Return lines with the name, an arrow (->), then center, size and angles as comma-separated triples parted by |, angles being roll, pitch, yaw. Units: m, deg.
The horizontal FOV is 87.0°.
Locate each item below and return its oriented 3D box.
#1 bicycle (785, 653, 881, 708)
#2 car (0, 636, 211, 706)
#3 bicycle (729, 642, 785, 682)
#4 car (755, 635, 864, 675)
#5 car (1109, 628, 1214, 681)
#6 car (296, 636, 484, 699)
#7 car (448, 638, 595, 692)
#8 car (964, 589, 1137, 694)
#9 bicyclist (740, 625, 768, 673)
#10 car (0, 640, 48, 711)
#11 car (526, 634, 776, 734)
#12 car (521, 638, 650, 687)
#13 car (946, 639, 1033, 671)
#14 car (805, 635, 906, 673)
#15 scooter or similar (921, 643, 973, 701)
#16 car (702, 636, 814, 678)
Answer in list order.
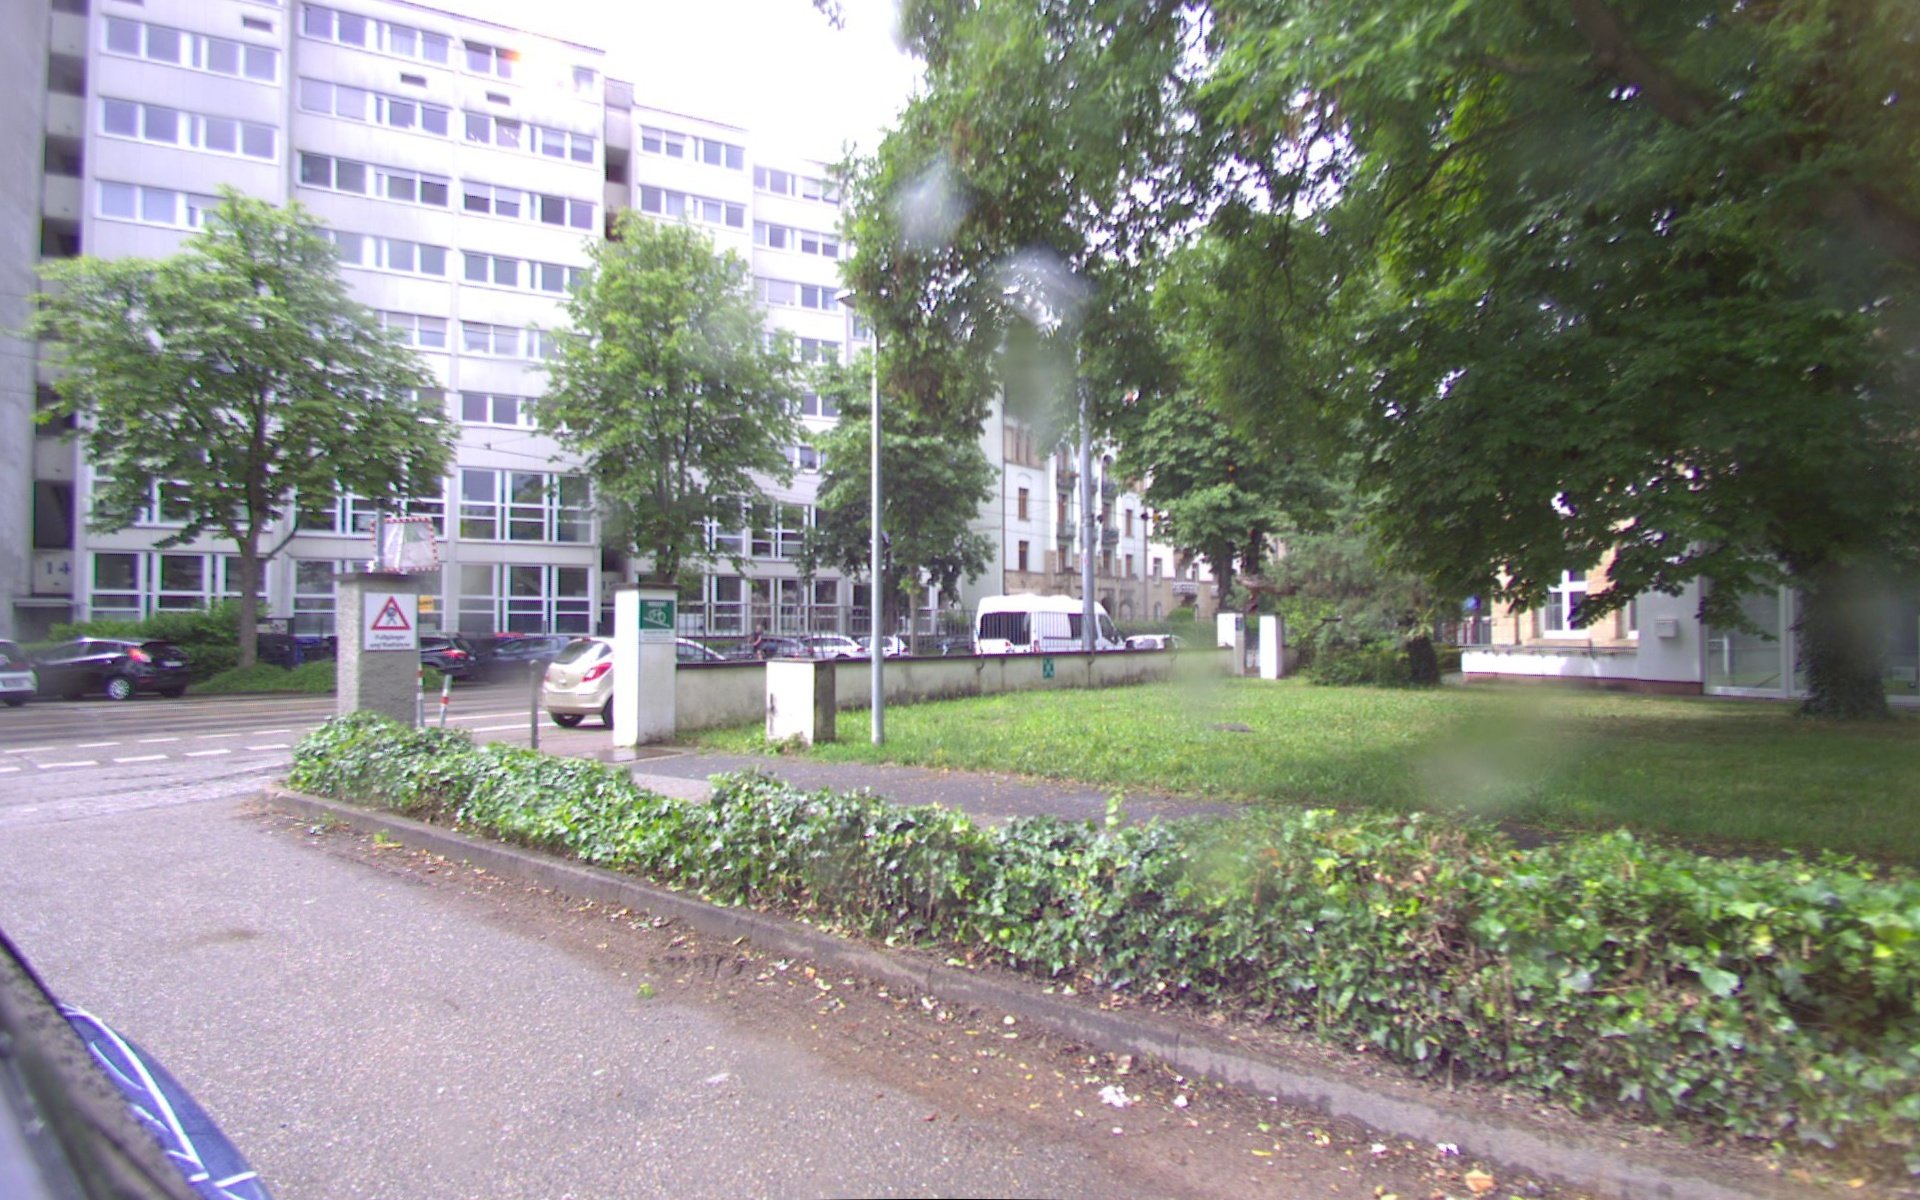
bicycle -> -2.530, 1.599, 20.052 | 1.924, 0.994, 0.676 | -5, -4, 36
car -> -20.153, 1.635, 23.668 | 3.922, 1.492, 1.816 | -1, -2, 0
bicycle -> -7.032, 2.140, 35.147 | 0.645, 1.276, 1.842 | -4, -3, 43
car -> -6.205, 2.264, 42.037 | 4.326, 1.464, 1.888 | -2, -2, -6
car -> 6.428, 1.732, 32.137 | 1.912, 1.563, 3.326 | -4, -4, 39
car -> -16.232, 1.909, 29.012 | 4.301, 1.567, 1.881 | -2, -3, -8
car -> -13.551, 1.992, 31.452 | 3.820, 1.465, 1.825 | -2, -3, -8
car -> 2.544, 1.134, 27.122 | 2.136, 2.529, 5.207 | -4, -4, 37
bicyclist -> -7.131, 1.710, 35.080 | 0.645, 1.630, 0.664 | -4, -3, 43
car -> -21.456, 1.571, 21.034 | 3.356, 1.463, 1.712 | 0, -2, -4
car -> -5.114, 1.347, 17.113 | 1.687, 1.471, 3.785 | -4, -4, 37
car -> -12.661, 2.106, 34.405 | 3.820, 1.465, 1.780 | -2, -3, -8
car -> 1.525, 2.837, 52.522 | 4.379, 1.464, 1.905 | -2, -2, 1
car -> -4.609, 2.368, 44.667 | 4.304, 1.464, 1.908 | -2, -2, -6
scooter or similar -> -0.297, 1.648, 23.236 | 1.136, 1.287, 0.424 | 0, -4, 13
car -> -7.833, 2.220, 39.627 | 4.141, 1.464, 1.816 | -2, -2, -6
